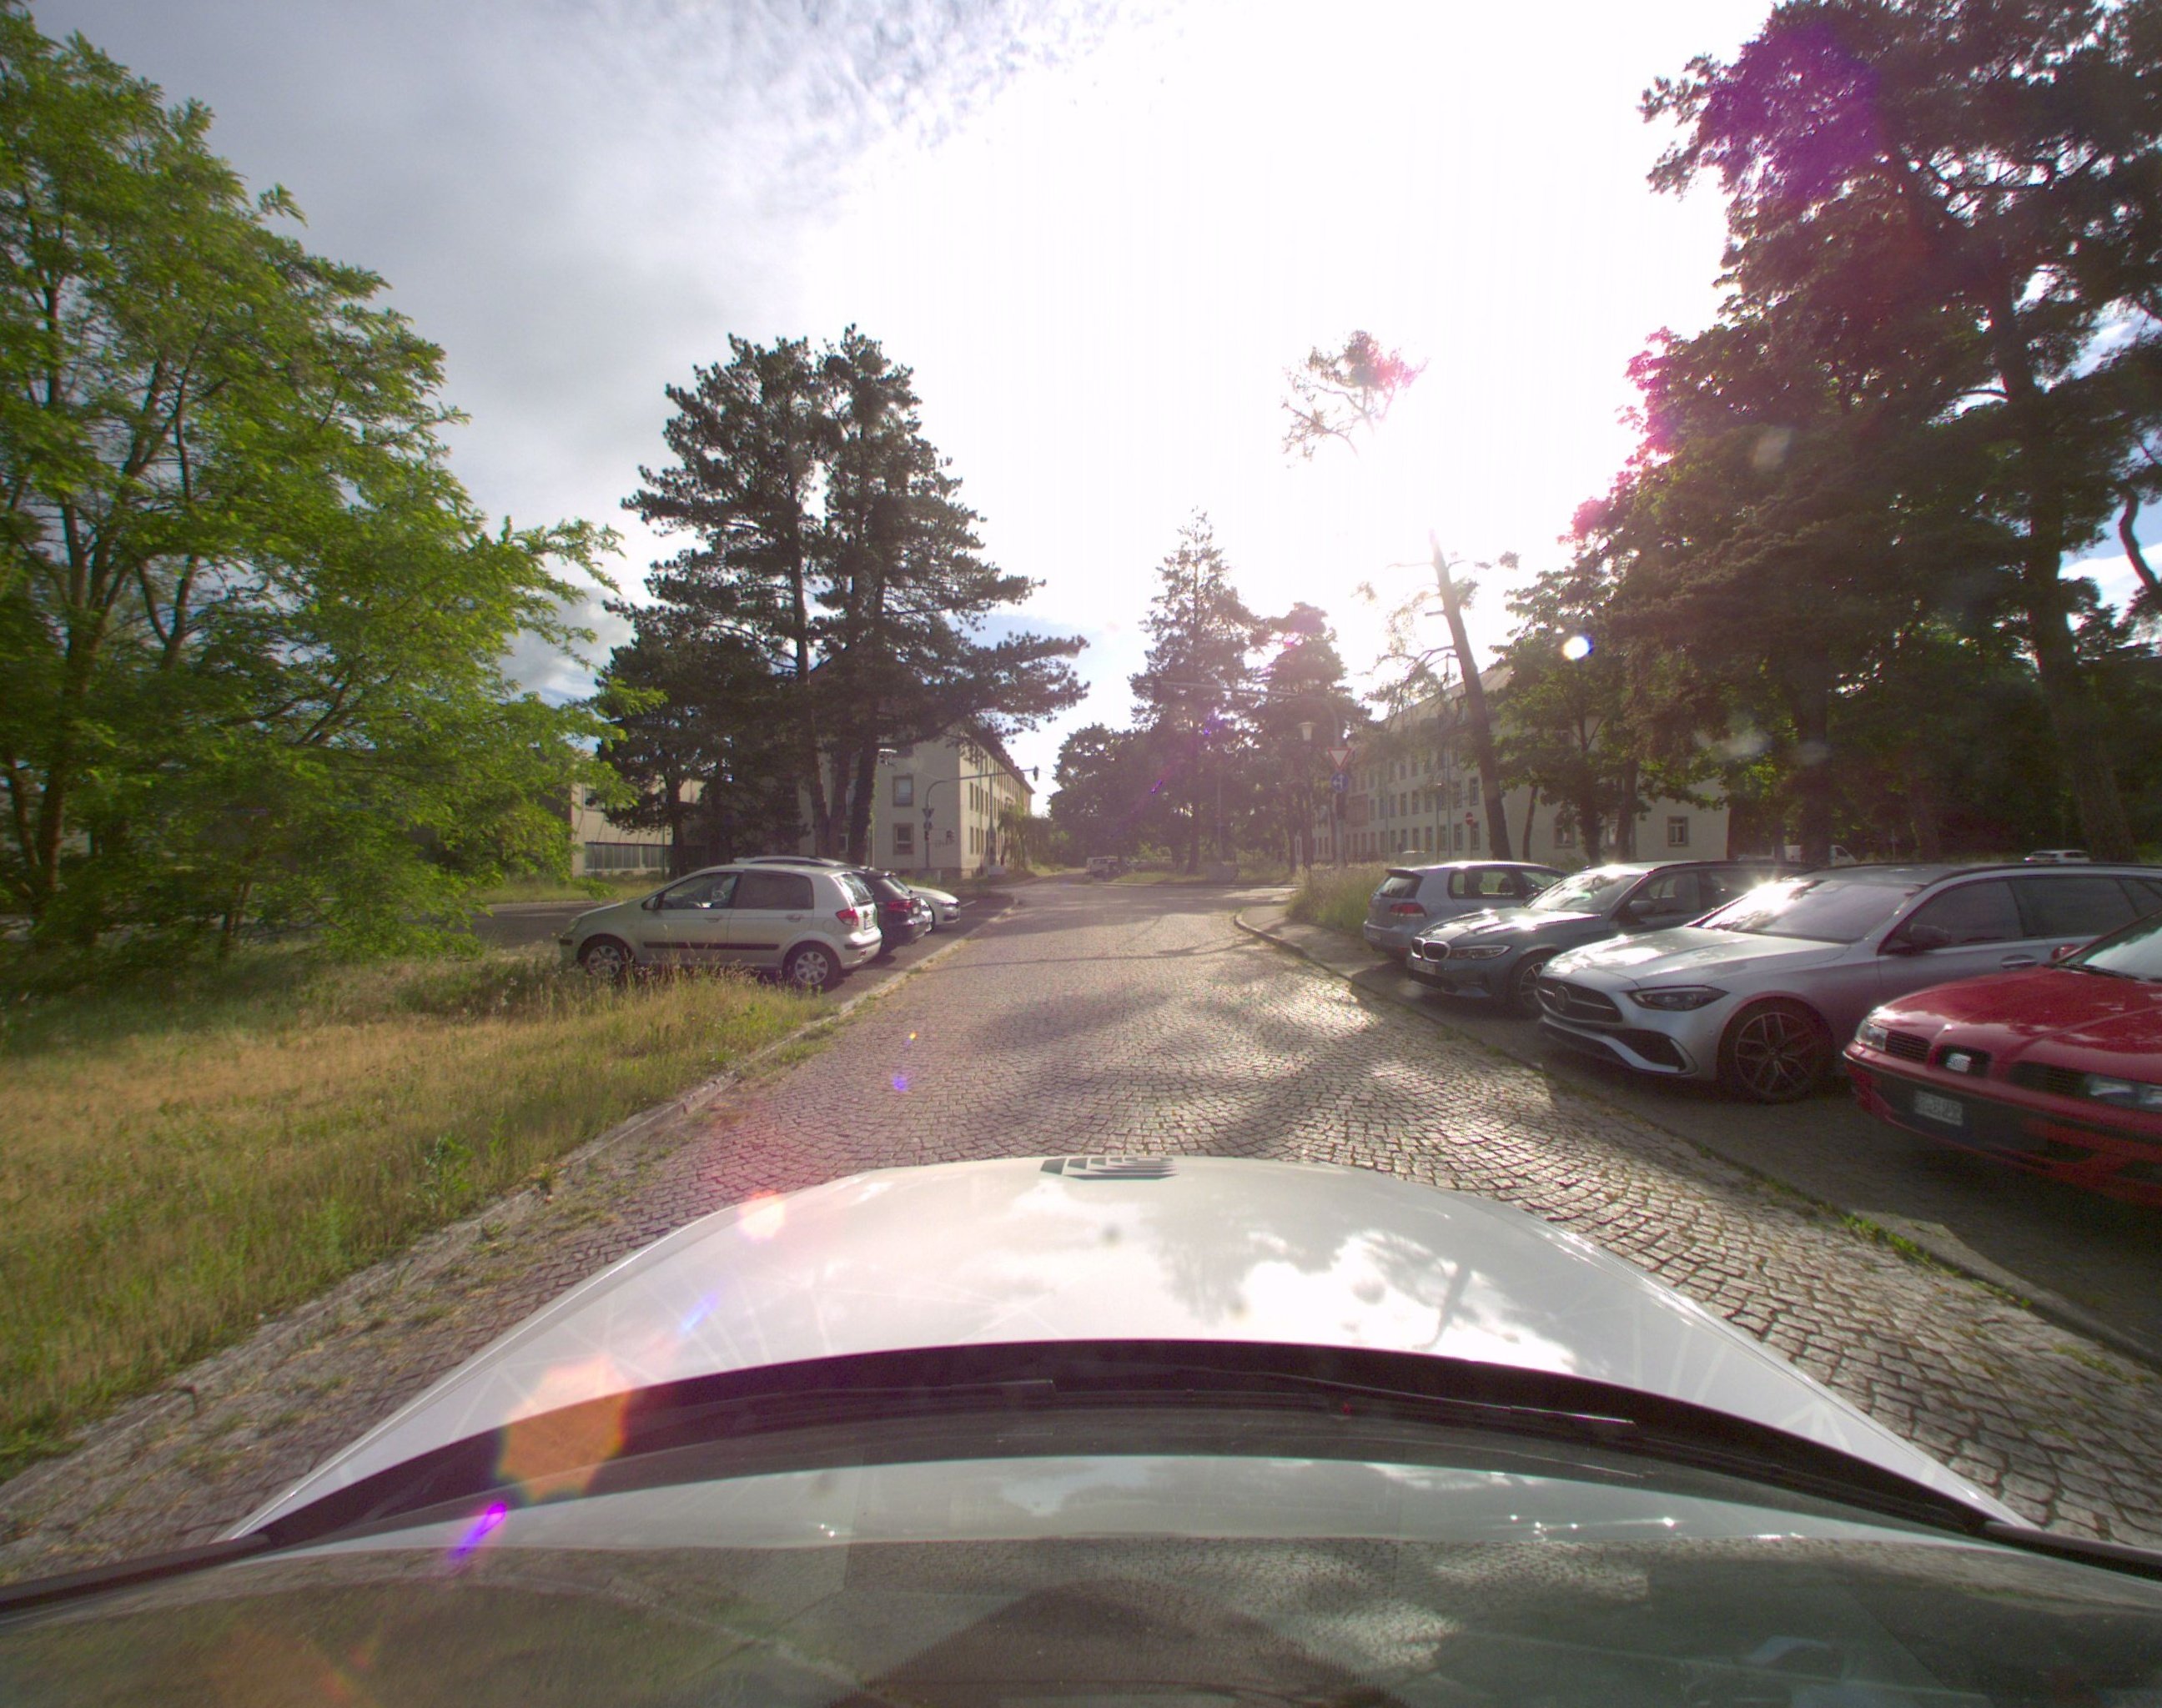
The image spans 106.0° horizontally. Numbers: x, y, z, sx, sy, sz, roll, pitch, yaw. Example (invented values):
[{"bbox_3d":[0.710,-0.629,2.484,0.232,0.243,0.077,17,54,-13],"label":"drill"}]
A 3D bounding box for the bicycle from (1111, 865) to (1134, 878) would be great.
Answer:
[{"bbox_3d":[3.266,1.376,64.295,1.787,0.999,0.644,-1,0,-1],"label":"bicycle"}]

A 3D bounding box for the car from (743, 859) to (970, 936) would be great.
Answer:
[{"bbox_3d":[-4.942,0.951,18.484,4.575,1.455,1.902,2,1,-2],"label":"car"}]

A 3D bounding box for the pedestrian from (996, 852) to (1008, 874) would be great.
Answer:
[{"bbox_3d":[-7.261,0.806,74.922,0.982,1.963,0.932,-1,-1,0],"label":"pedestrian"}]

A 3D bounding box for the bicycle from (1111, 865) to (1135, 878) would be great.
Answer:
[{"bbox_3d":[3.248,1.349,62.553,1.787,0.999,0.644,-1,0,-1],"label":"bicycle"}]

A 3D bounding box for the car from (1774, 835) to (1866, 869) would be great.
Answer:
[{"bbox_3d":[58.498,-0.141,64.500,5.139,2.536,2.265,-1,-1,1],"label":"car"}]

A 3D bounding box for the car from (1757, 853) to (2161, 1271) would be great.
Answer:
[{"bbox_3d":[6.046,0.720,3.798,4.327,1.473,1.739,-2,-1,0],"label":"car"}]

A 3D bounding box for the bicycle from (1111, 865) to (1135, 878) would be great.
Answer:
[{"bbox_3d":[3.259,1.366,63.573,1.787,0.999,0.644,-1,0,-1],"label":"bicycle"}]

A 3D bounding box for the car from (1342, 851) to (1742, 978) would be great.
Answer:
[{"bbox_3d":[6.271,0.787,11.471,4.531,1.505,1.932,-2,-1,-2],"label":"car"}]

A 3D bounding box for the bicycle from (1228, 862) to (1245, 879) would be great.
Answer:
[{"bbox_3d":[9.213,0.966,48.379,0.561,0.999,1.750,-1,0,-3],"label":"bicycle"}]

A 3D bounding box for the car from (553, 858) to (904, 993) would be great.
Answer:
[{"bbox_3d":[-4.369,0.866,10.592,3.672,1.473,1.848,2,-1,-1],"label":"car"}]

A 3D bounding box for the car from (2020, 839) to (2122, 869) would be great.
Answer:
[{"bbox_3d":[58.775,0.014,48.388,3.921,1.679,1.855,-1,-1,-2],"label":"car"}]

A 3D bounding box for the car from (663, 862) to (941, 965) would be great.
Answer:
[{"bbox_3d":[-4.372,0.917,13.247,3.817,1.429,1.858,2,-1,-1],"label":"car"}]

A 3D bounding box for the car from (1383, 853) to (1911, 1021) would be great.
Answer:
[{"bbox_3d":[5.886,0.803,8.846,4.497,1.473,1.892,-2,-1,-4],"label":"car"}]

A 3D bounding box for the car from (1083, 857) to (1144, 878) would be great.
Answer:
[{"bbox_3d":[3.140,1.275,78.489,5.507,1.916,2.244,0,-1,-14],"label":"car"}]

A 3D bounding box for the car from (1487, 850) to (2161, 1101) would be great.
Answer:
[{"bbox_3d":[5.739,0.770,6.068,4.492,1.473,1.849,-2,-1,0],"label":"car"}]

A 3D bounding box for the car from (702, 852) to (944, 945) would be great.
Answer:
[{"bbox_3d":[-4.885,0.841,15.943,4.113,1.600,1.856,2,-1,-4],"label":"car"}]

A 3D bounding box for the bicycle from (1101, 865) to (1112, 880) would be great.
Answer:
[{"bbox_3d":[1.835,1.345,58.964,0.725,0.999,1.799,-1,0,1],"label":"bicycle"}]

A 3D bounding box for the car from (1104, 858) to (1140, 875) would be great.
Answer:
[{"bbox_3d":[3.761,1.159,74.925,3.035,1.465,1.713,-1,-2,-12],"label":"car"}]
